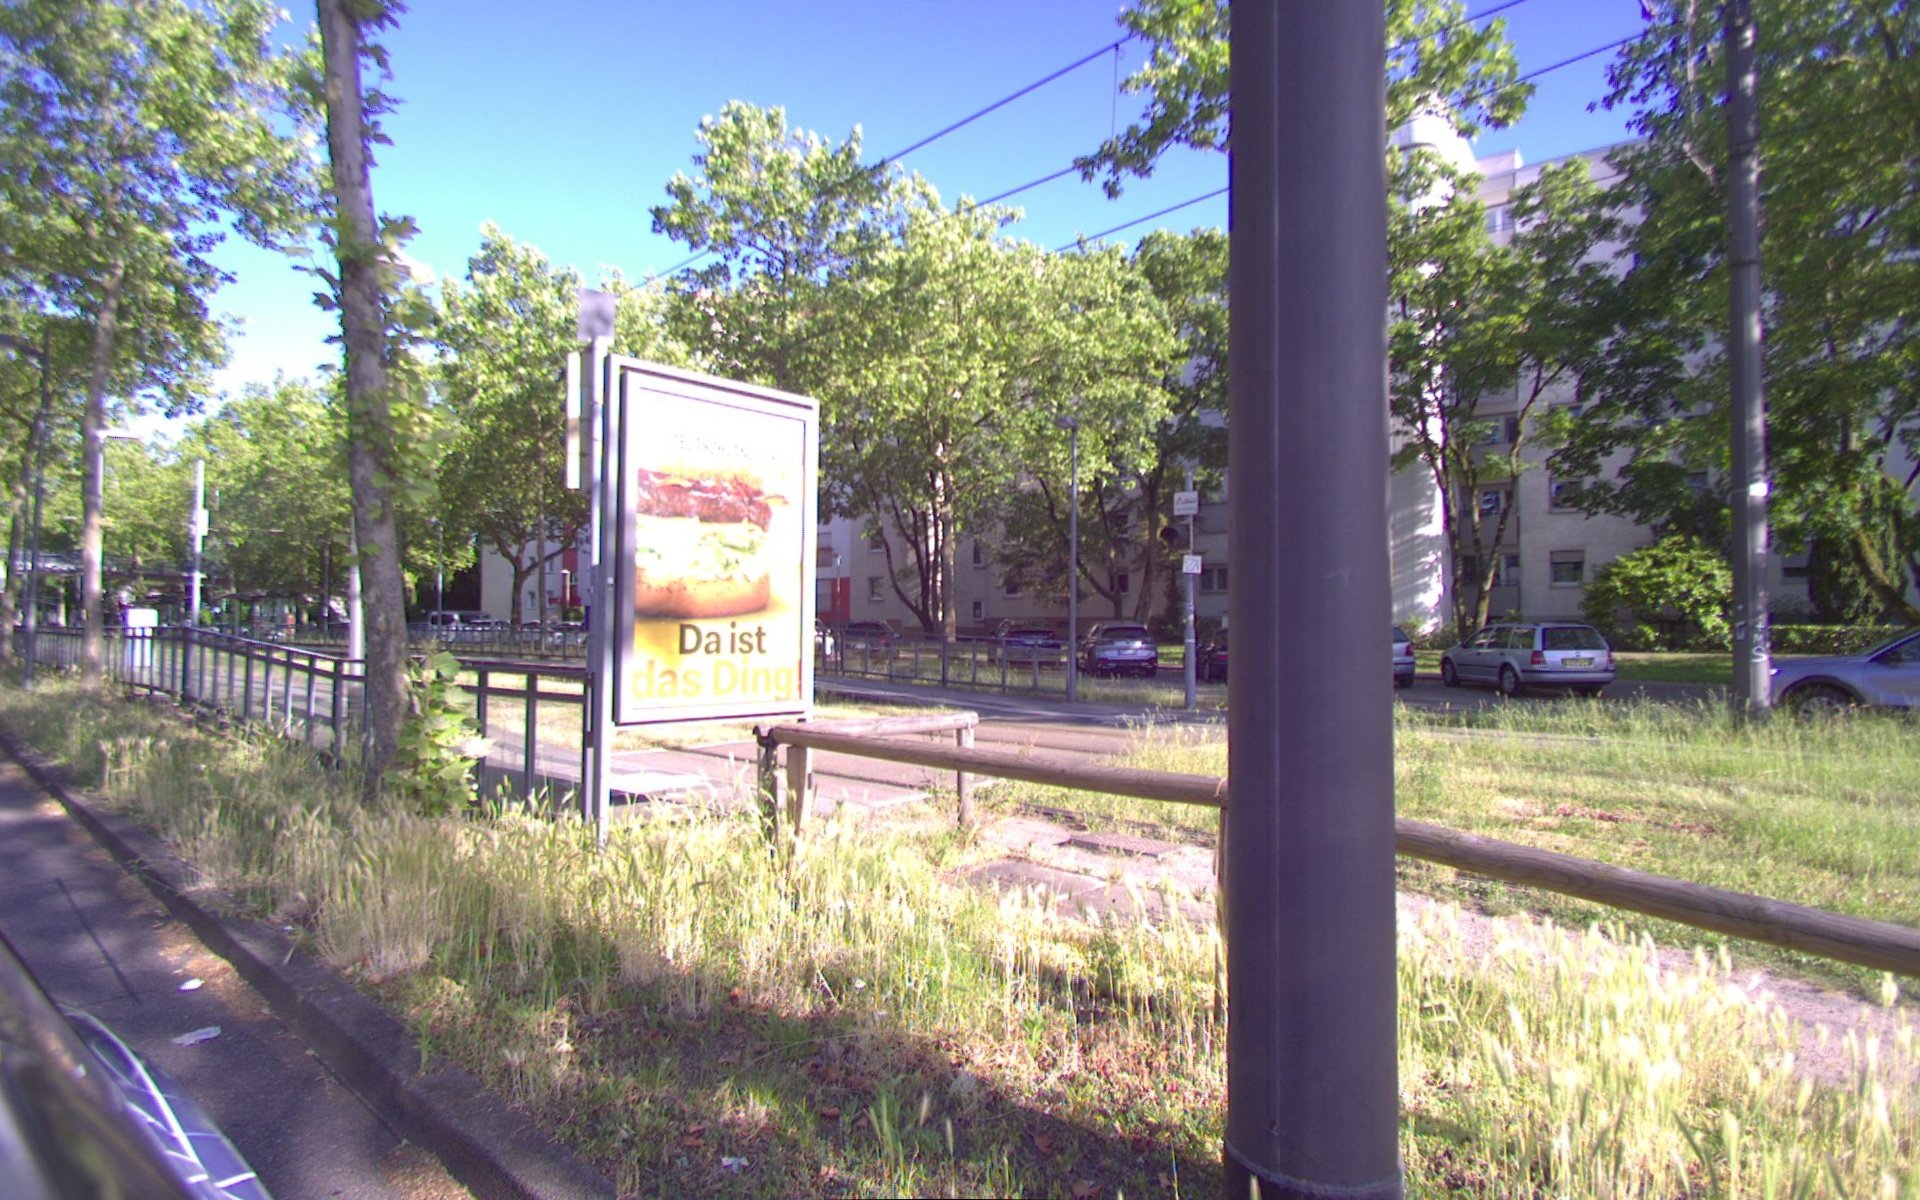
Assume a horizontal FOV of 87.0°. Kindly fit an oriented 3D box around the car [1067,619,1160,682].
[{"bbox_3d":[4.107,1.316,27.732,1.650,1.469,4.004,-1,0,-4],"label":"car"}]

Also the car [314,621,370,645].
[{"bbox_3d":[-41.137,2.186,67.486,1.578,1.582,3.830,0,-1,-3],"label":"car"}]

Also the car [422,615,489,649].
[{"bbox_3d":[-28.424,1.796,57.168,1.843,1.826,4.048,0,-1,-1],"label":"car"}]

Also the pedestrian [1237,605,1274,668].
[{"bbox_3d":[8.447,1.040,28.906,0.755,1.770,0.752,-1,-2,41],"label":"pedestrian"}]

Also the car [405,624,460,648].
[{"bbox_3d":[-30.905,2.087,59.406,1.459,1.354,3.488,0,-1,-1],"label":"car"}]

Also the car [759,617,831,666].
[{"bbox_3d":[-5.997,1.484,37.216,1.791,1.607,3.997,-1,0,3],"label":"car"}]

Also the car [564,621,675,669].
[{"bbox_3d":[-11.523,1.488,34.131,4.100,1.523,1.746,-1,-2,41],"label":"car"}]

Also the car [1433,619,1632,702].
[{"bbox_3d":[11.507,1.149,20.691,1.685,1.454,3.978,-1,0,-2],"label":"car"}]

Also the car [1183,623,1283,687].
[{"bbox_3d":[6.738,1.317,25.316,1.572,1.360,3.922,-1,0,3],"label":"car"}]

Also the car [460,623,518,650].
[{"bbox_3d":[-25.807,1.976,55.510,1.605,1.414,3.488,0,-1,-1],"label":"car"}]

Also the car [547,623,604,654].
[{"bbox_3d":[-18.760,1.861,49.479,1.459,1.339,3.488,-2,0,-1],"label":"car"}]

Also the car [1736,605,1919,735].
[{"bbox_3d":[12.300,0.831,12.343,4.331,1.534,1.786,-1,-2,44],"label":"car"}]

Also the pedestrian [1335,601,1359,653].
[{"bbox_3d":[13.373,0.936,34.994,0.634,1.770,0.516,-1,-2,39],"label":"pedestrian"}]

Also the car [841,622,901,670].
[{"bbox_3d":[-3.007,1.541,34.666,1.538,1.439,3.761,-1,0,3],"label":"car"}]

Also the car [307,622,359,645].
[{"bbox_3d":[-44.913,2.382,72.543,1.578,1.538,3.737,0,-1,-3],"label":"car"}]

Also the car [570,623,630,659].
[{"bbox_3d":[-16.677,1.864,47.046,1.445,1.519,3.393,-1,0,3],"label":"car"}]

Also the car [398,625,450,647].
[{"bbox_3d":[-33.061,2.186,62.529,1.459,1.311,3.488,0,-1,-1],"label":"car"}]

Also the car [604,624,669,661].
[{"bbox_3d":[-14.103,1.840,44.294,1.470,1.425,3.880,-1,0,3],"label":"car"}]

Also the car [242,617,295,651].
[{"bbox_3d":[-43.177,2.108,63.145,4.652,2.007,1.772,-1,-2,43],"label":"car"}]

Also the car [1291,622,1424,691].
[{"bbox_3d":[9.128,1.245,23.544,1.553,1.431,3.620,-1,-1,-1],"label":"car"}]

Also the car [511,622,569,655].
[{"bbox_3d":[-21.125,1.931,51.052,1.539,1.436,3.489,-3,0,-2],"label":"car"}]

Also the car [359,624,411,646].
[{"bbox_3d":[-37.502,2.265,66.087,1.459,1.330,3.488,0,-1,-1],"label":"car"}]

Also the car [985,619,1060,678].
[{"bbox_3d":[1.758,1.353,29.739,1.669,1.499,4.003,-1,0,-4],"label":"car"}]
